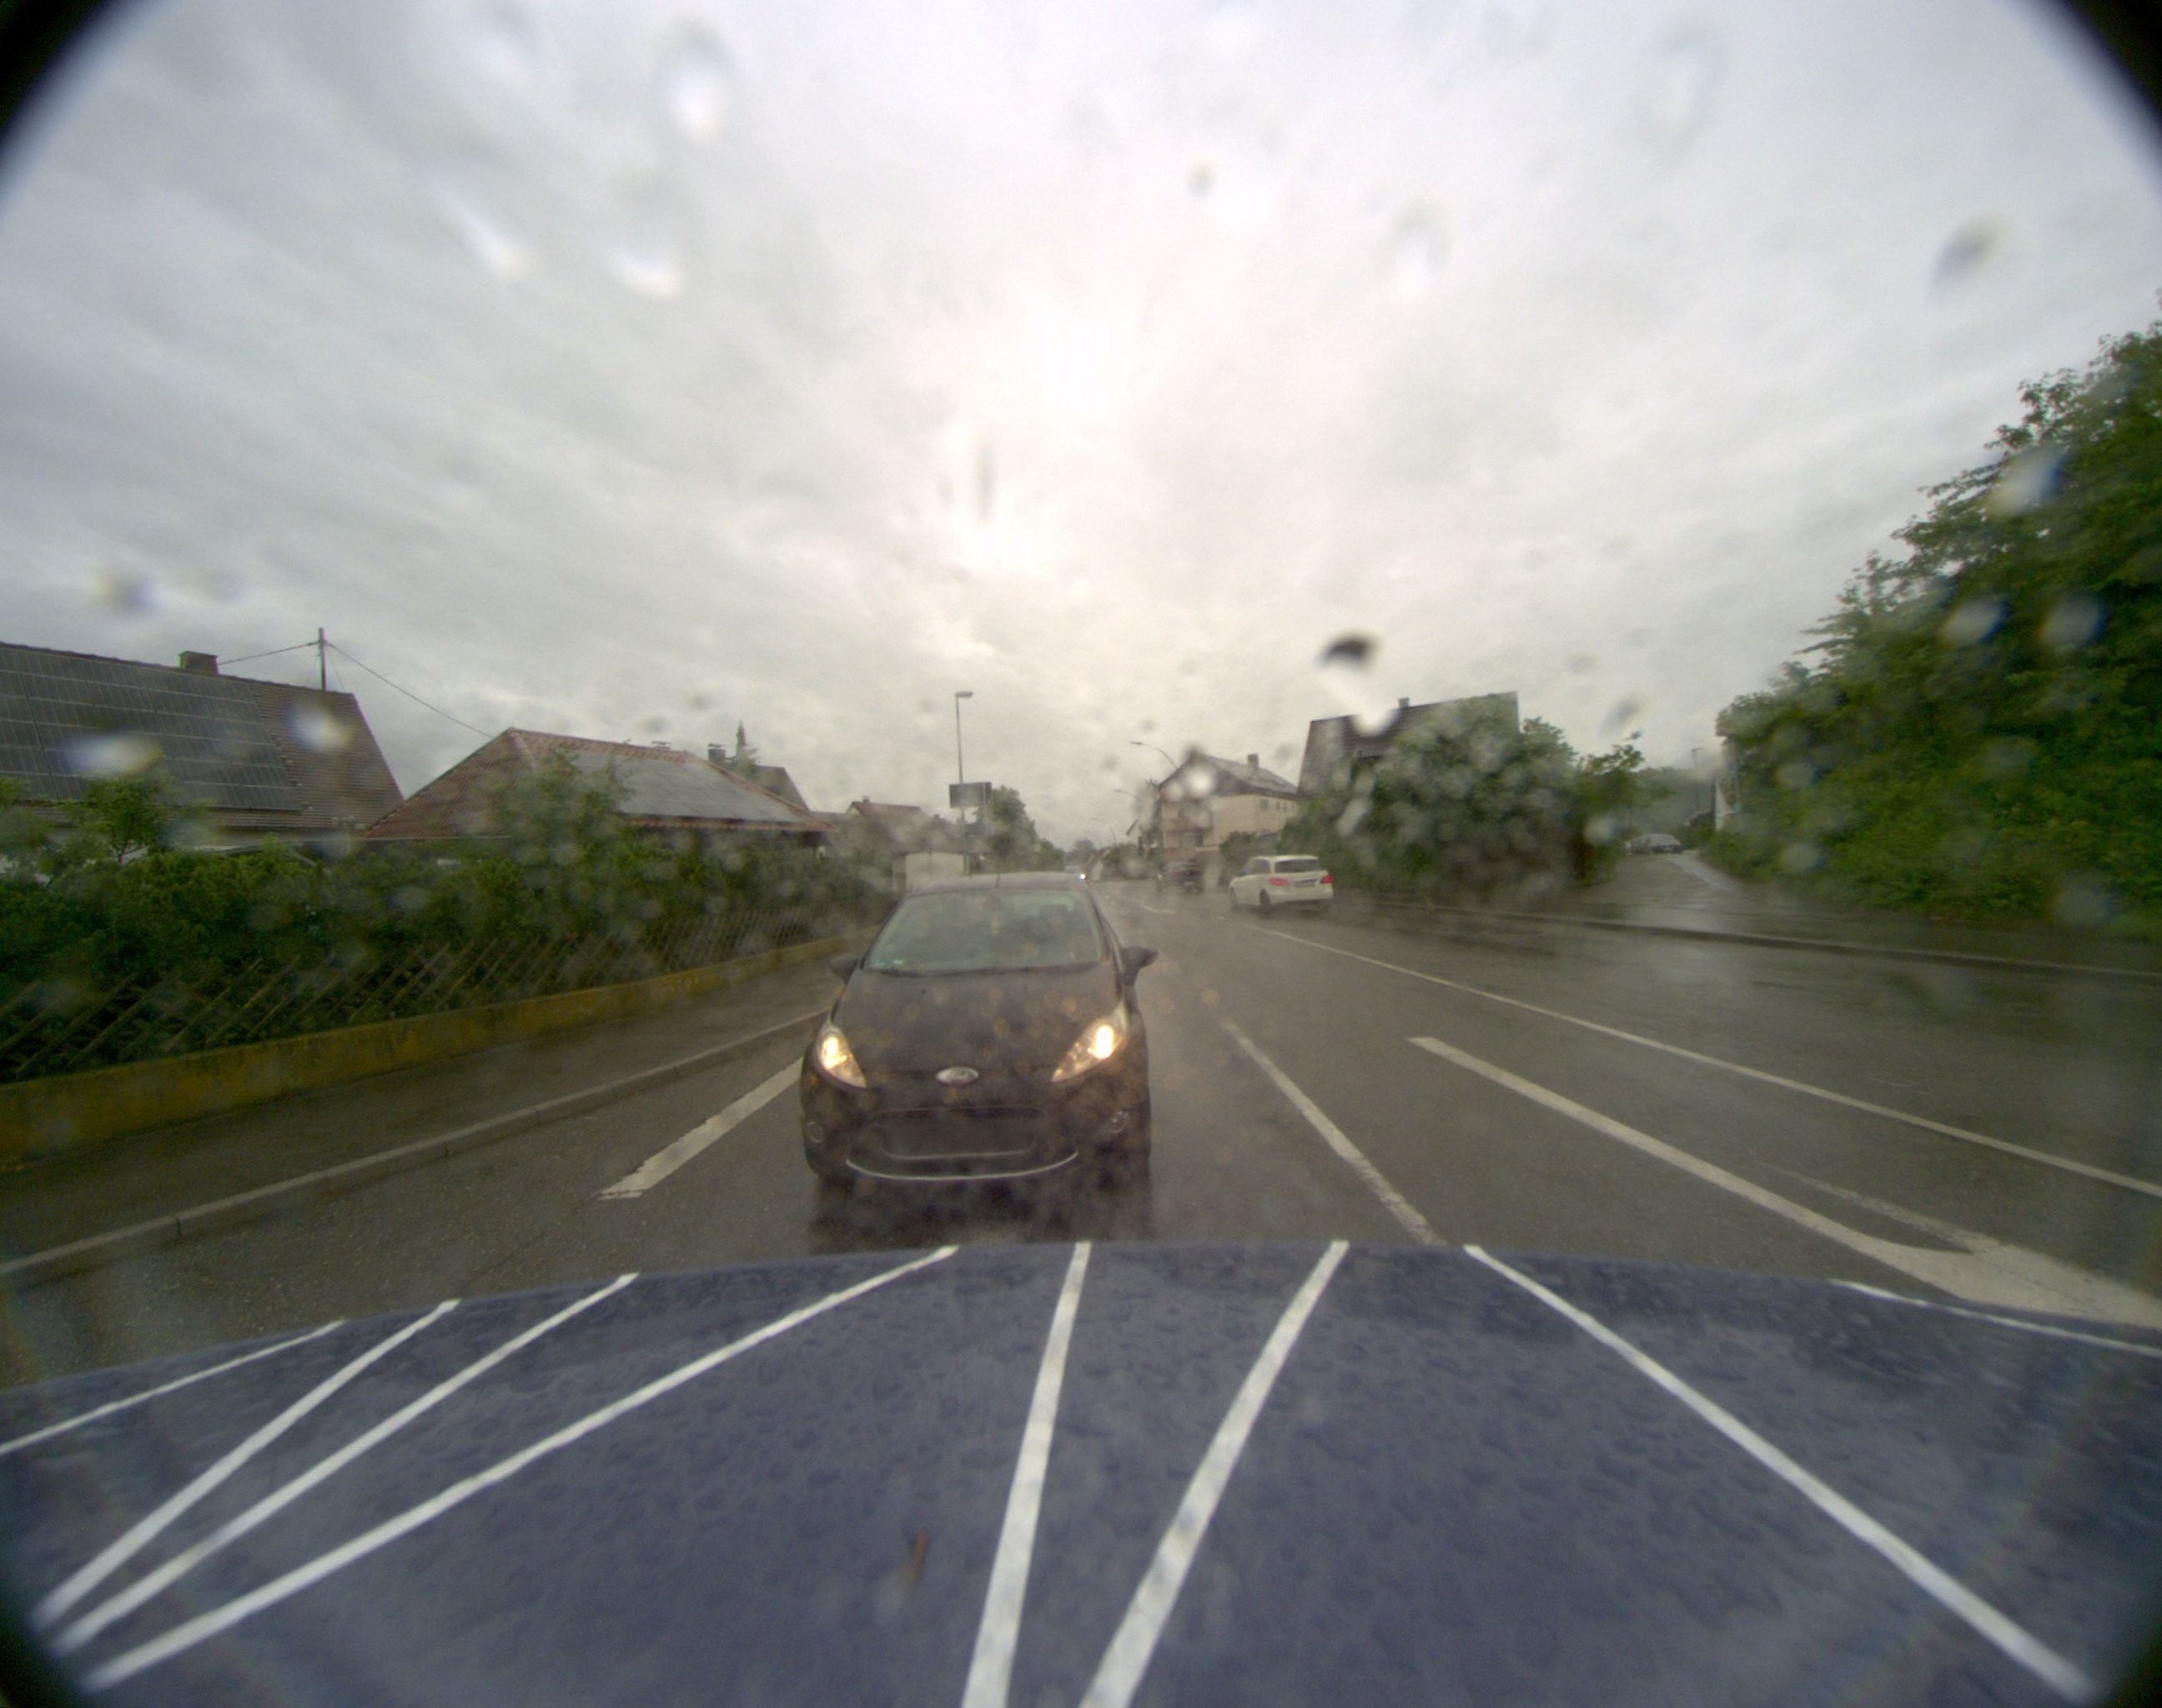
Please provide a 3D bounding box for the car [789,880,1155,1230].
[{"bbox_3d":[-0.554,1.014,5.551,1.666,1.410,3.931,-2,1,-1],"label":"car"}]

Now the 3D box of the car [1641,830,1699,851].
[{"bbox_3d":[45.501,-1.006,58.802,1.997,1.477,4.004,-3,0,13],"label":"car"}]

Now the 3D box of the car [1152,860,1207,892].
[{"bbox_3d":[4.780,1.026,37.457,1.670,1.430,4.105,0,0,-8],"label":"car"}]

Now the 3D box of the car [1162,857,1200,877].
[{"bbox_3d":[8.824,1.107,66.886,1.661,1.538,4.007,-2,1,34],"label":"car"}]

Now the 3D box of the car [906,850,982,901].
[{"bbox_3d":[-6.894,1.049,38.614,1.650,2.337,4.007,-2,0,27],"label":"car"}]

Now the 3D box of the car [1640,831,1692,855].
[{"bbox_3d":[40.734,-0.749,53.006,1.895,1.474,4.007,-2,0,24],"label":"car"}]

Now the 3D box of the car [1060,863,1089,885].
[{"bbox_3d":[-0.501,1.448,55.185,1.899,1.474,3.999,-2,0,-3],"label":"car"}]

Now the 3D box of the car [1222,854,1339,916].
[{"bbox_3d":[5.510,0.807,21.585,1.670,1.496,4.319,-3,0,-8],"label":"car"}]
